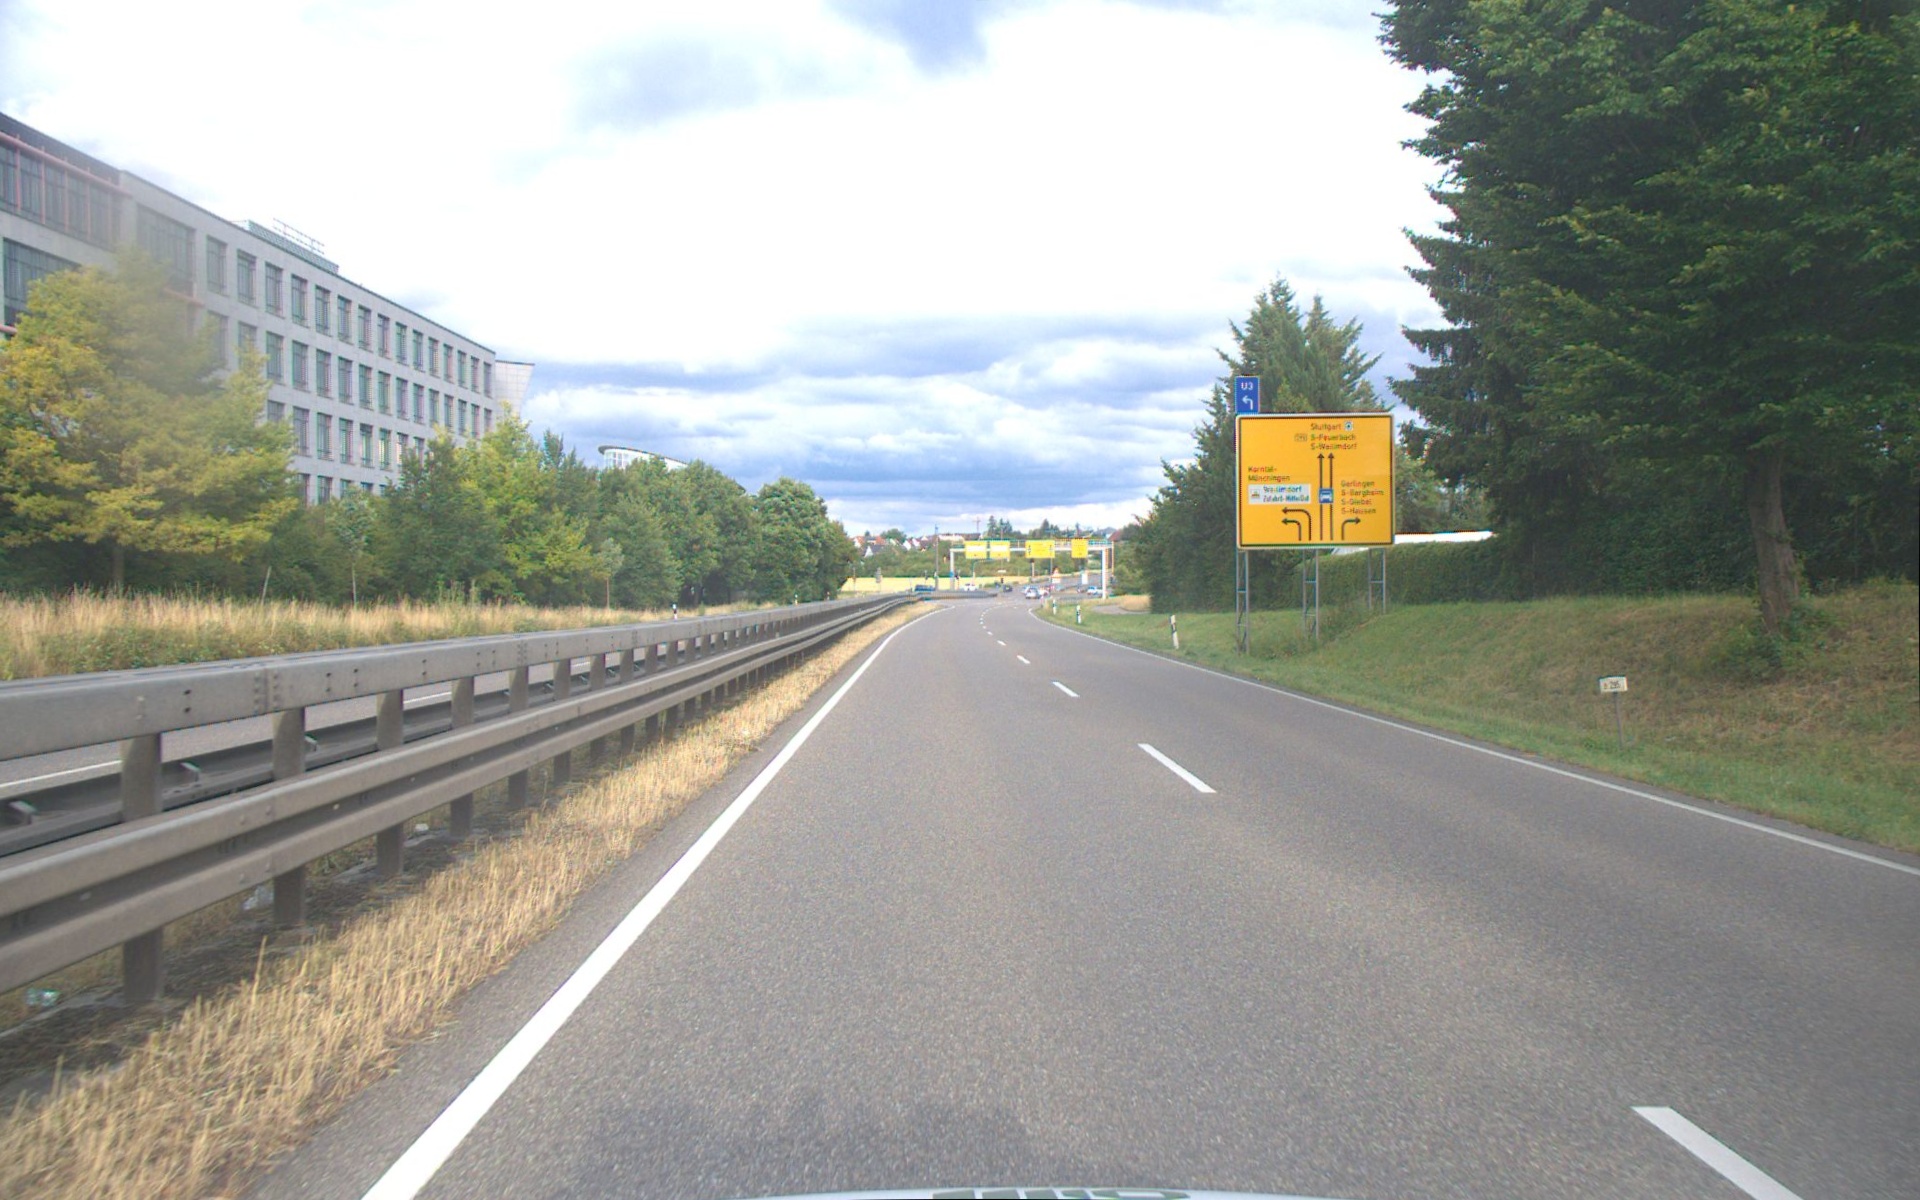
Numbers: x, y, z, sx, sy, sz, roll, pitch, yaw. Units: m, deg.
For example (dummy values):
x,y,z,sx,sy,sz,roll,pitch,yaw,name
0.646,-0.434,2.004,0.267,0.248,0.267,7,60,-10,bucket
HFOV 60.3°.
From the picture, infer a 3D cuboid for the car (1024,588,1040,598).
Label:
x,y,z,sx,sy,sz,roll,pitch,yaw,name
11.309,-1.095,258.287,1.759,1.583,4.003,0,0,13,car
